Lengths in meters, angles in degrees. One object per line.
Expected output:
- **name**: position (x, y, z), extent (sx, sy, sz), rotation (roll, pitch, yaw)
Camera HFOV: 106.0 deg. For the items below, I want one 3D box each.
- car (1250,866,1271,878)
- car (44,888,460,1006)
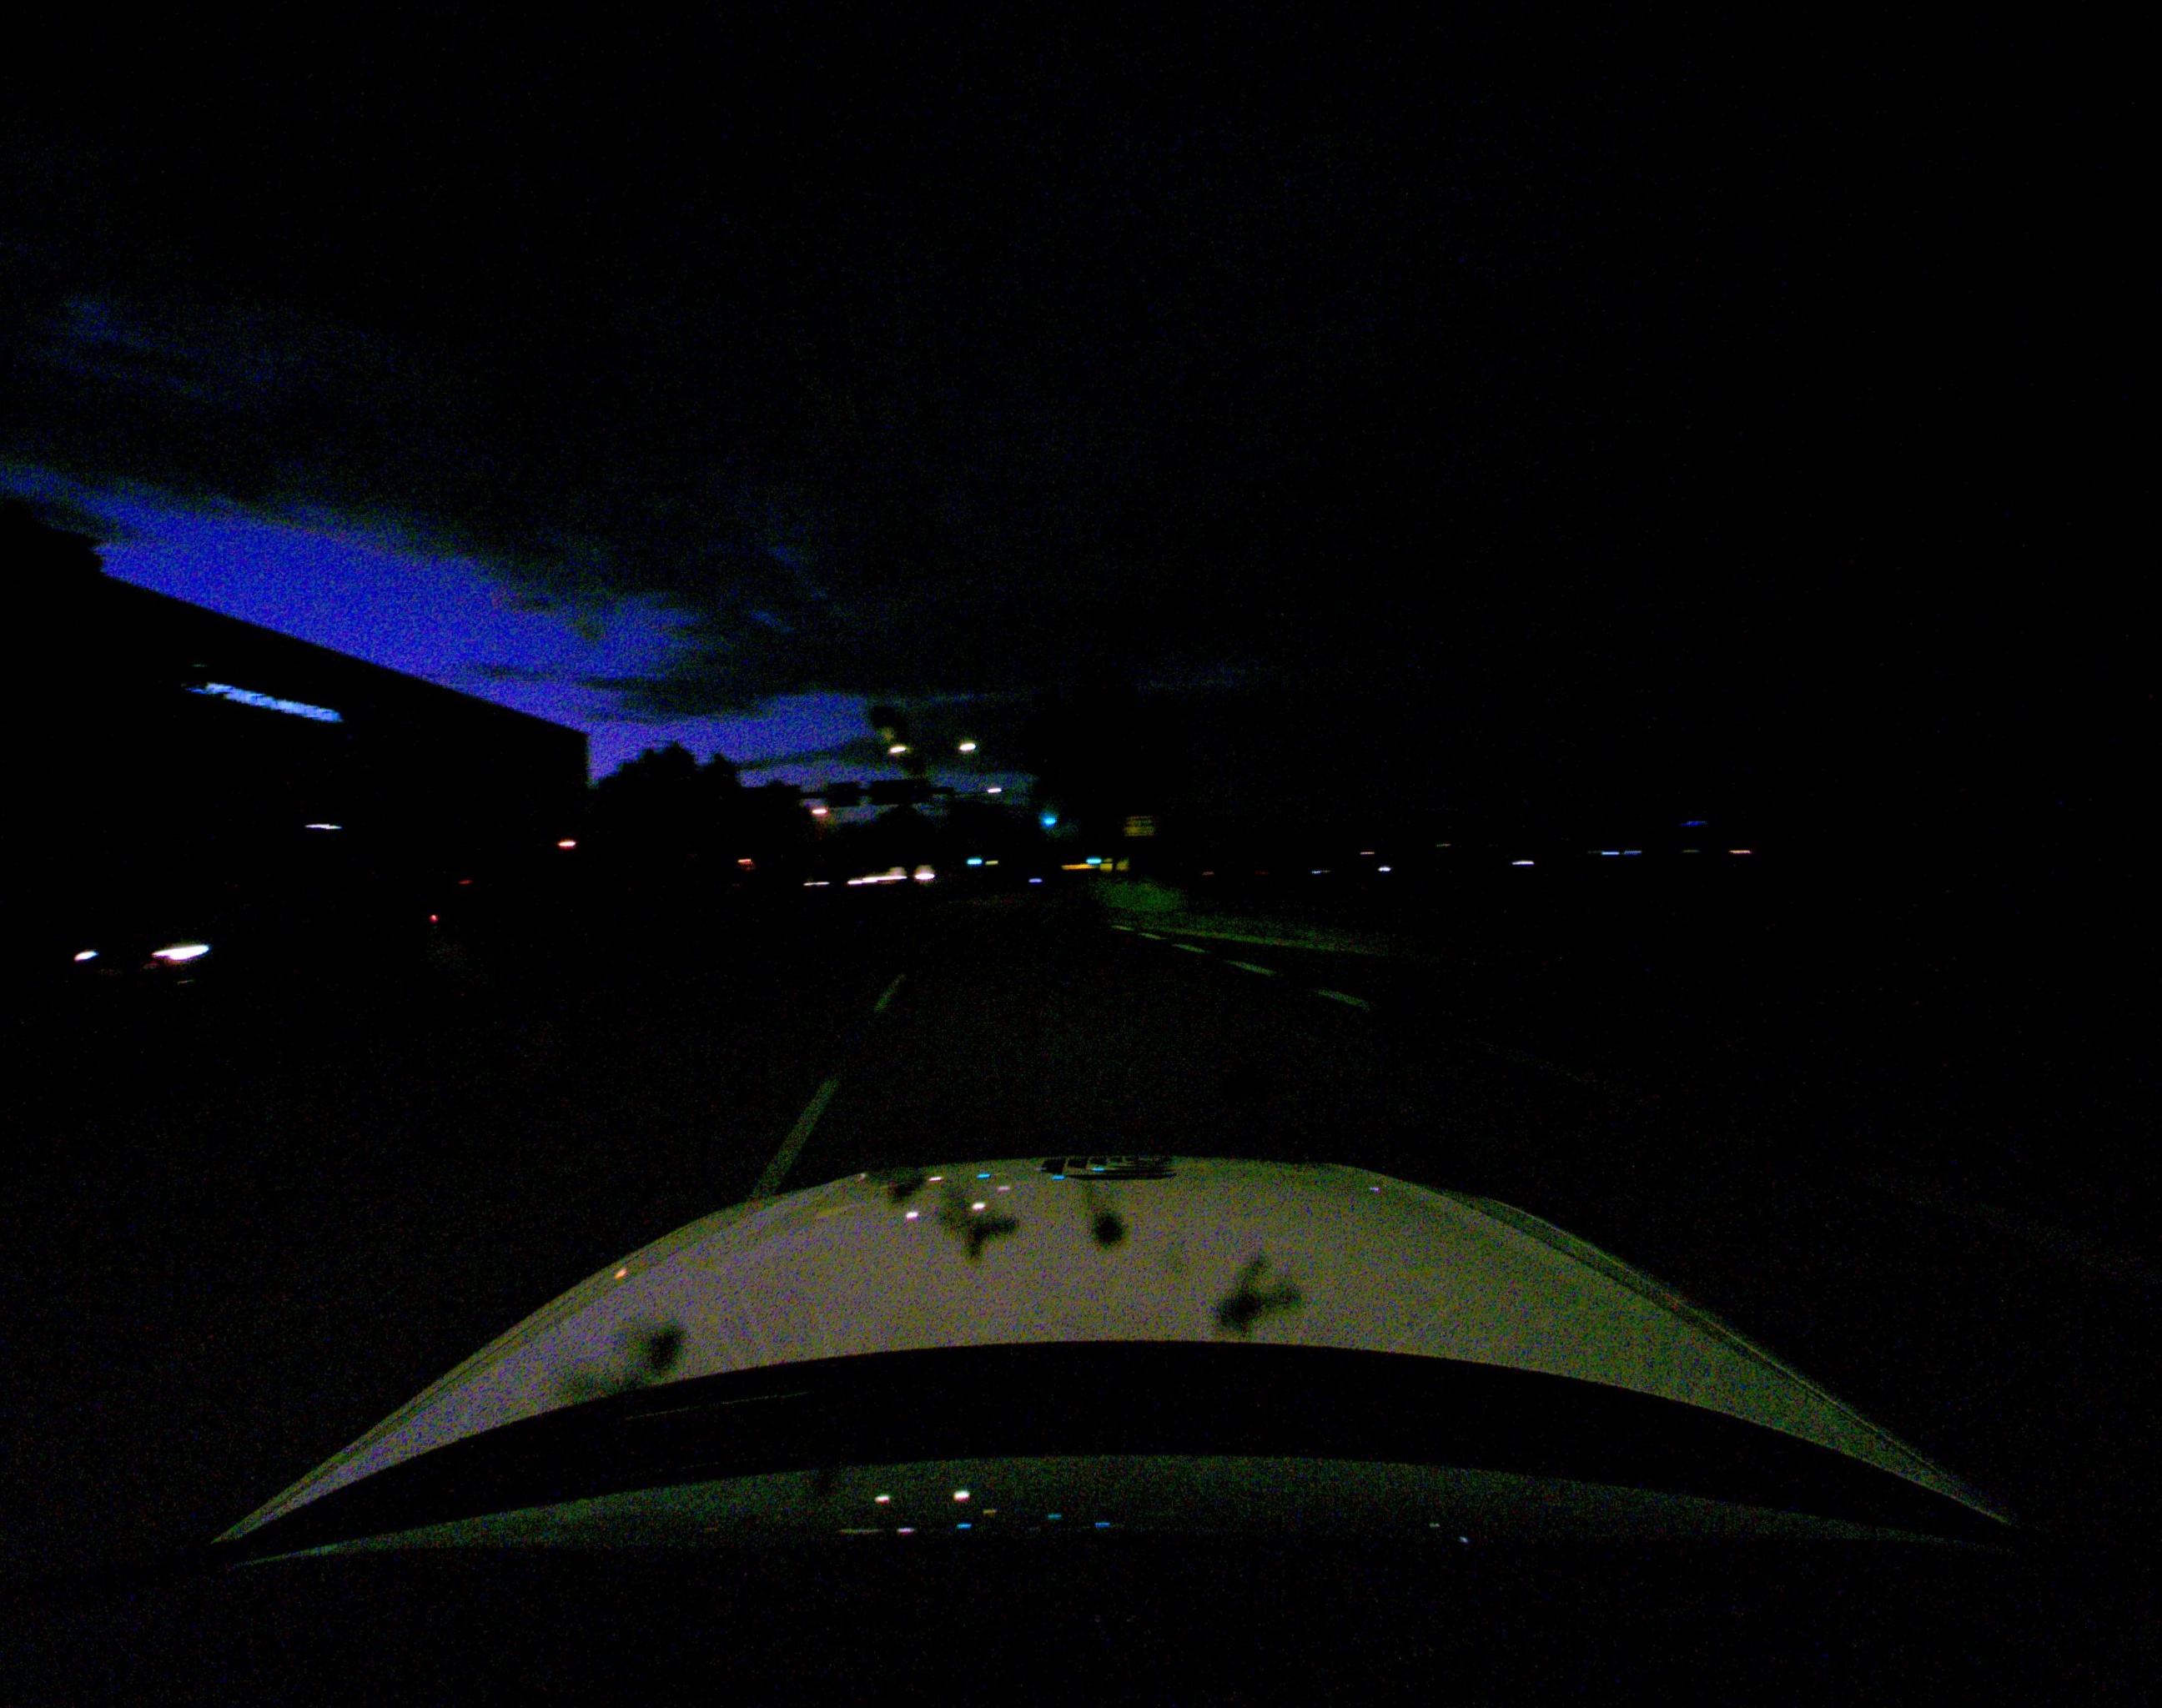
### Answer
- **car**: position (33.601, 3.320, 152.479), extent (4.023, 2.013, 1.975), rotation (-2, 0, -44)
- **car**: position (-13.062, 1.356, 13.433), extent (1.865, 1.398, 4.837), rotation (-2, -1, 0)
